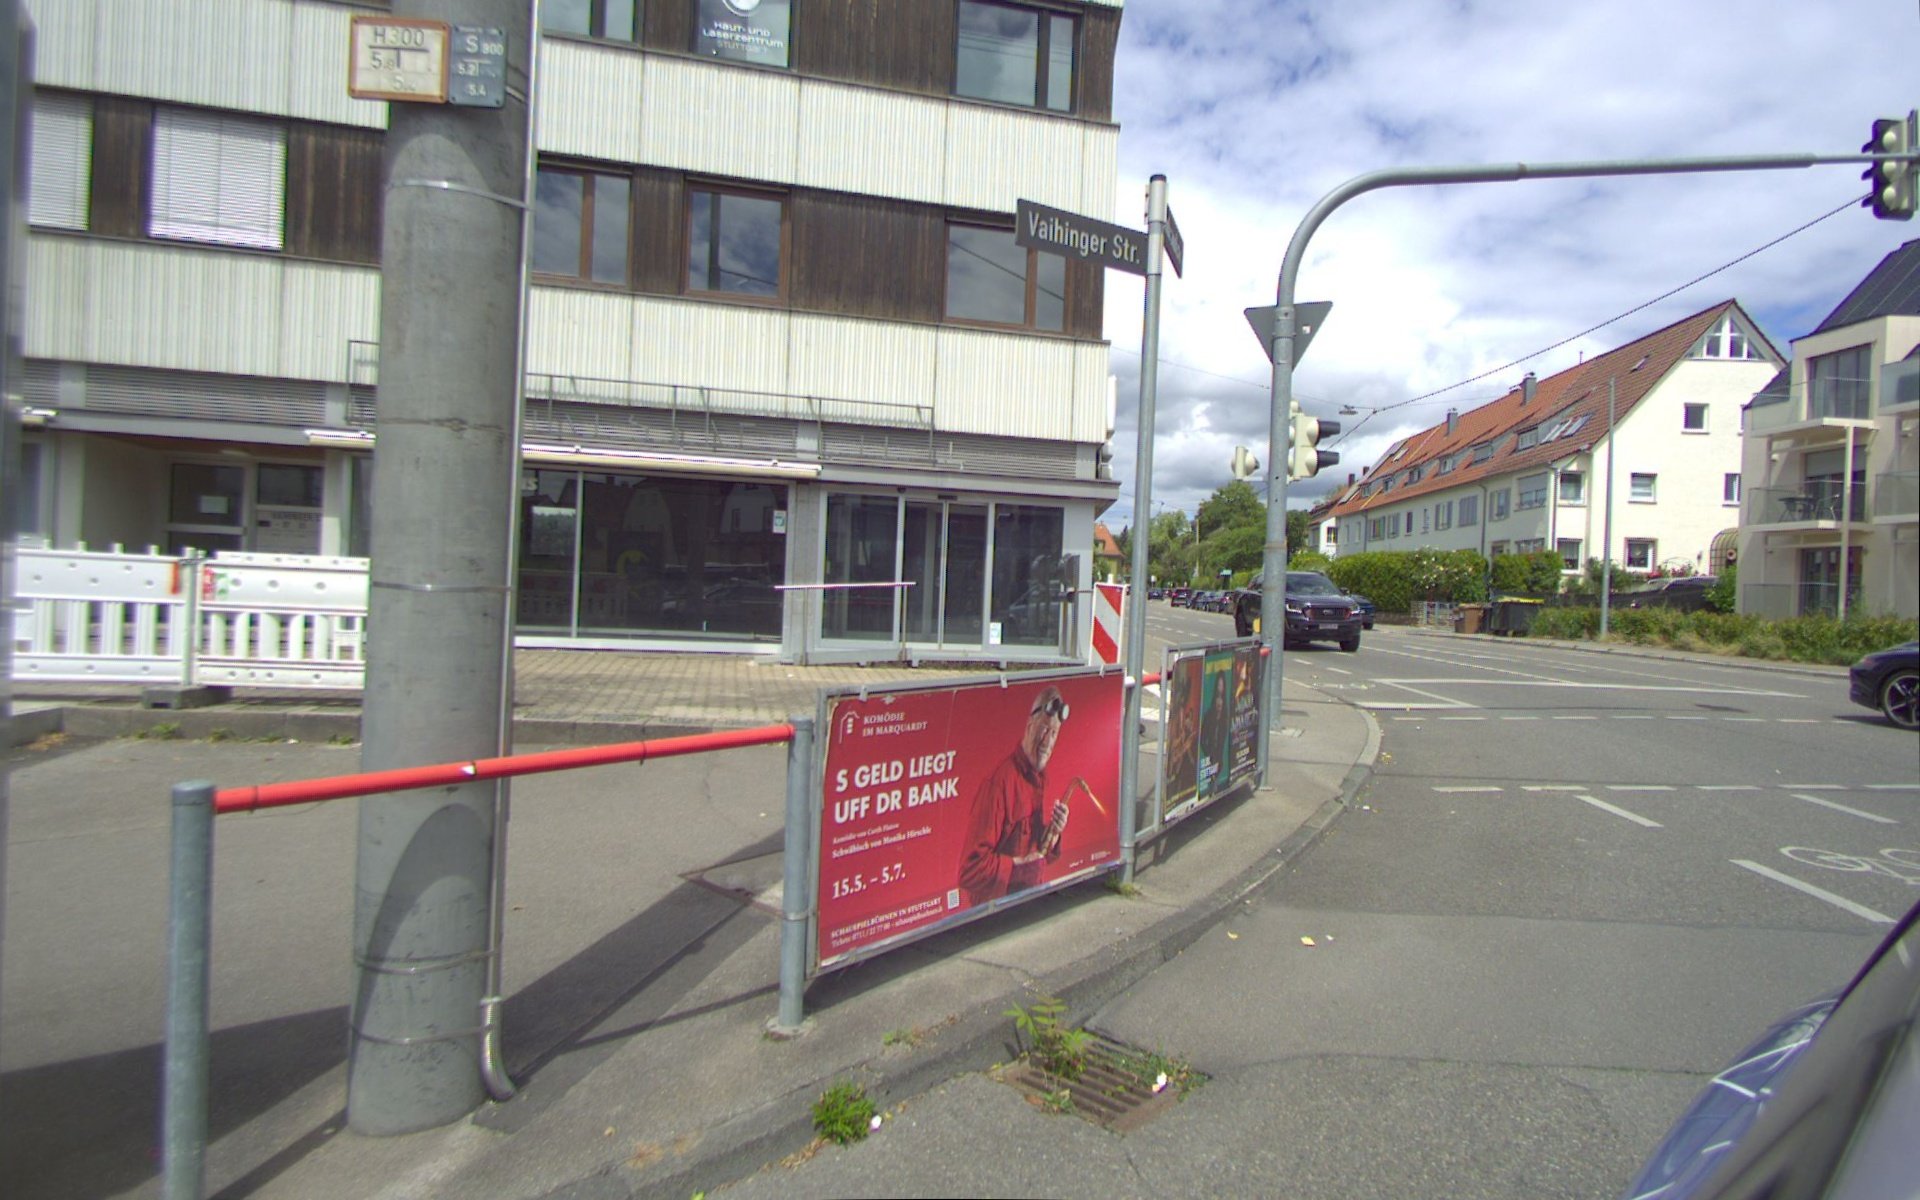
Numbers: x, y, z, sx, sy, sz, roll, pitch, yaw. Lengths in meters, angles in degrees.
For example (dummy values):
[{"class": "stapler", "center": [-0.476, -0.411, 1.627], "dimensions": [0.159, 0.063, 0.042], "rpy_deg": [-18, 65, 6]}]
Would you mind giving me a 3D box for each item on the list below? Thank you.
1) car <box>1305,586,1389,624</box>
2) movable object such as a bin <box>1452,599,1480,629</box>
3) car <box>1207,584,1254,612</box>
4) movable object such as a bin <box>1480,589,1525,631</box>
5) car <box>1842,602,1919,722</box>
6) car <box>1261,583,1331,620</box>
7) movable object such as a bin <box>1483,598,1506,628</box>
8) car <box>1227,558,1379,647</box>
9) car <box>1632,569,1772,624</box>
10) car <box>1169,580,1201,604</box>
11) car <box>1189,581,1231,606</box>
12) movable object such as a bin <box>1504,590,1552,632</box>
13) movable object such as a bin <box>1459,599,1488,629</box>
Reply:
[{"class": "car", "center": [16.674, 0.179, 43.852], "dimensions": [1.785, 1.520, 4.455], "rpy_deg": [1, 1, -1]}, {"class": "movable object such as a bin", "center": [19.119, 0.514, 38.258], "dimensions": [0.752, 1.079, 0.691], "rpy_deg": [1, 1, 9]}, {"class": "car", "center": [17.348, -0.167, 65.131], "dimensions": [1.963, 1.653, 4.235], "rpy_deg": [1, 1, 2]}, {"class": "movable object such as a bin", "center": [19.522, 0.337, 36.433], "dimensions": [1.072, 1.464, 0.980], "rpy_deg": [1, 1, 2]}, {"class": "car", "center": [11.760, 0.728, 9.939], "dimensions": [1.958, 1.298, 4.313], "rpy_deg": [1, 1, -14]}, {"class": "car", "center": [16.189, 0.034, 48.979], "dimensions": [1.963, 1.653, 4.452], "rpy_deg": [1, 1, 2]}, {"class": "movable object such as a bin", "center": [19.719, 0.476, 37.328], "dimensions": [0.644, 1.079, 0.523], "rpy_deg": [1, 1, -37]}, {"class": "car", "center": [8.109, 0.007, 24.498], "dimensions": [1.852, 1.872, 5.221], "rpy_deg": [1, 1, 0]}, {"class": "car", "center": [29.111, -0.163, 39.808], "dimensions": [3.926, 2.039, 1.999], "rpy_deg": [1, 1, 2]}, {"class": "car", "center": [18.586, -0.671, 83.717], "dimensions": [1.964, 1.938, 4.065], "rpy_deg": [1, 1, 4]}, {"class": "car", "center": [17.424, -0.459, 70.739], "dimensions": [1.963, 1.653, 4.235], "rpy_deg": [1, 1, 2]}, {"class": "movable object such as a bin", "center": [19.532, 0.369, 34.799], "dimensions": [1.072, 1.379, 0.980], "rpy_deg": [1, 1, 2]}, {"class": "movable object such as a bin", "center": [19.046, 0.517, 37.512], "dimensions": [0.752, 1.079, 0.691], "rpy_deg": [1, 1, 9]}]
